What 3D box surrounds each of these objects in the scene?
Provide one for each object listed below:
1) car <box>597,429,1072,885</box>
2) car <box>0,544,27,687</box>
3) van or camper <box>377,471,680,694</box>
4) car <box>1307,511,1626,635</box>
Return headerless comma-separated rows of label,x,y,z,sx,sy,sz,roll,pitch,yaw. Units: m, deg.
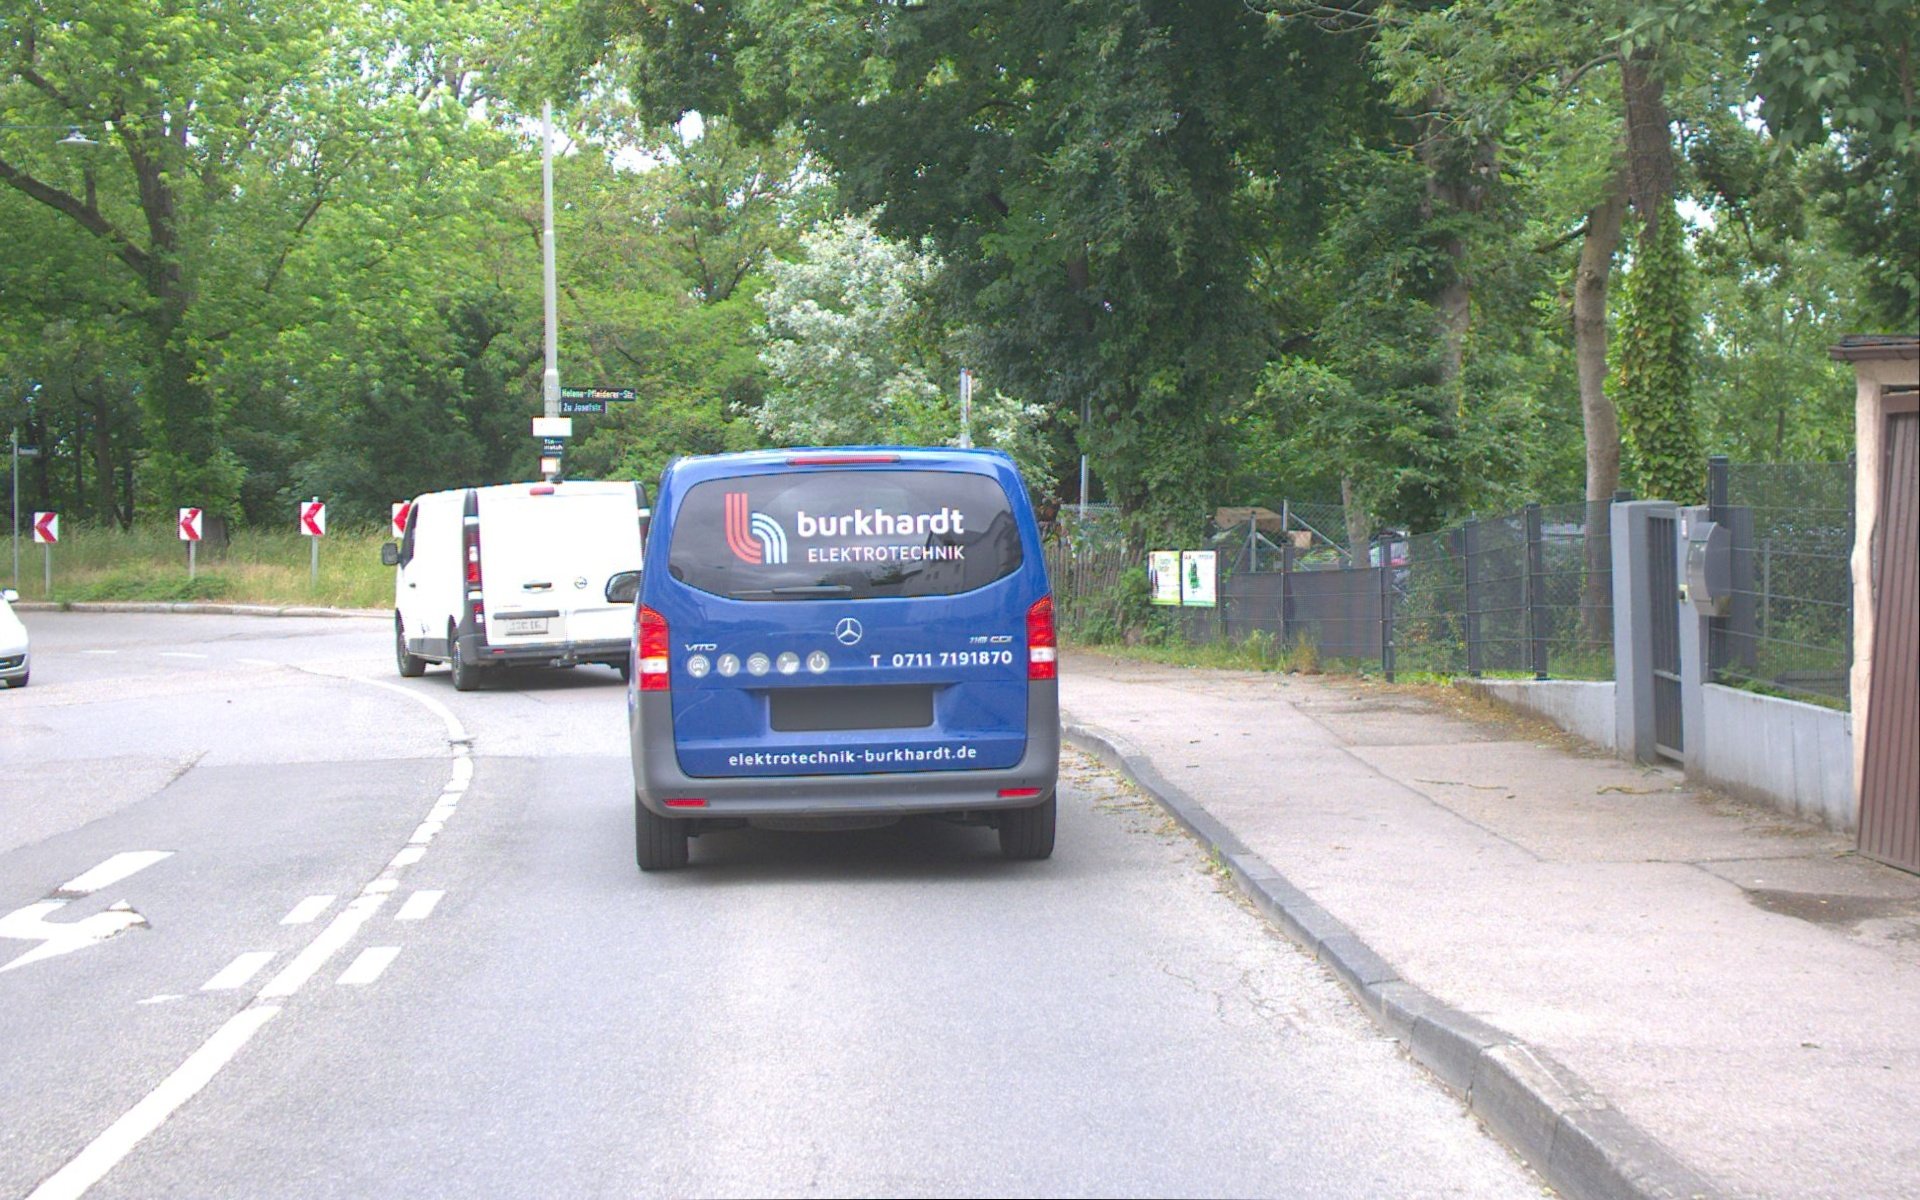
car,-0.666,0.187,16.472,1.913,1.831,4.295,-2,1,-4
car,-12.098,0.180,40.376,1.722,1.599,3.978,-3,2,-21
van or camper,-4.392,-0.202,34.308,2.019,1.950,4.898,-4,2,-18
car,6.647,-0.352,45.220,3.658,1.394,1.832,3,-1,-18
